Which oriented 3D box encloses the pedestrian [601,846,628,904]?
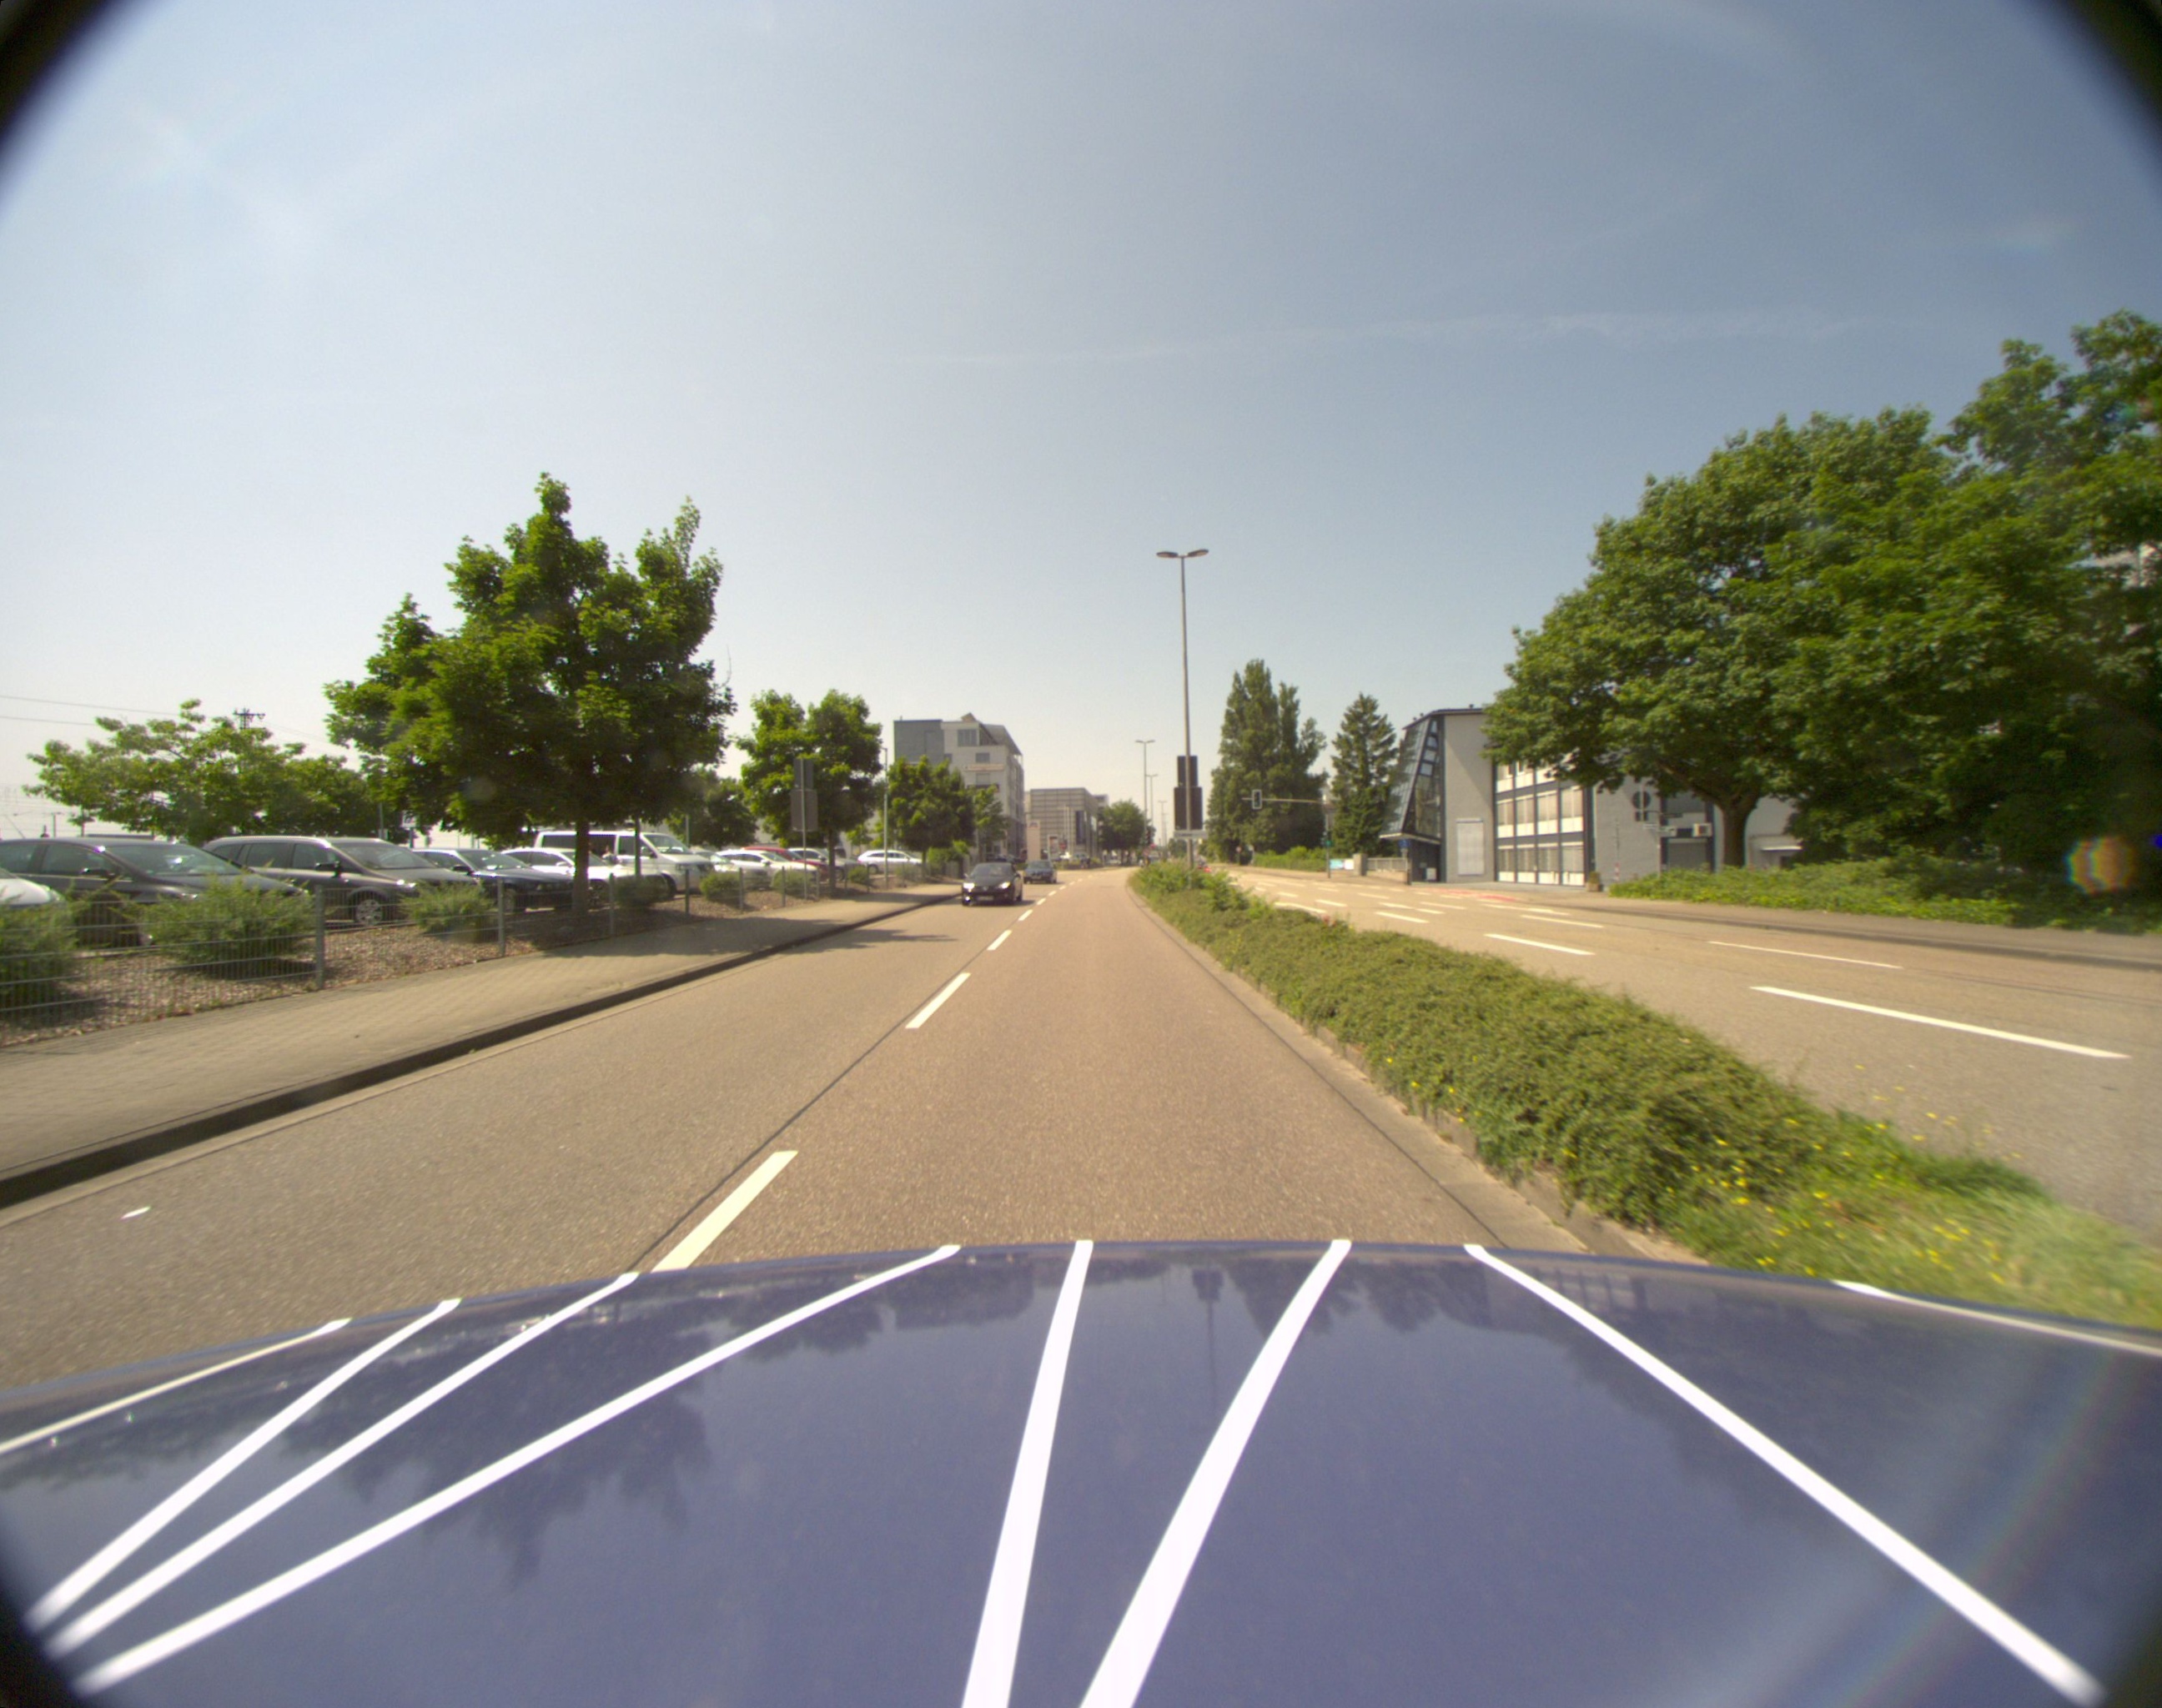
[{"bbox_3d":[-12.352,0.560,20.142,0.416,1.516,0.447,1,1,6],"label":"pedestrian"}]

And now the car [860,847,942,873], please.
[{"bbox_3d":[-10.898,0.380,46.187,4.587,1.496,1.698,-1,0,1],"label":"car"}]

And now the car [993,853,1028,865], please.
[{"bbox_3d":[-8.078,0.529,87.194,3.880,1.331,1.756,0,0,1],"label":"car"}]

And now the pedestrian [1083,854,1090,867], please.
[{"bbox_3d":[0.677,0.828,96.656,0.830,1.616,1.005,-2,2,4],"label":"pedestrian"}]

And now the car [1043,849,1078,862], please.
[{"bbox_3d":[-2.709,0.214,100.892,4.473,1.600,2.097,-2,1,3],"label":"car"}]

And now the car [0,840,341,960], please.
[{"bbox_3d":[-13.467,0.590,10.773,3.998,1.525,1.826,-1,1,-3],"label":"car"}]

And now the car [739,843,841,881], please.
[{"bbox_3d":[-12.151,0.334,31.928,3.598,1.528,1.723,-1,0,0],"label":"car"}]

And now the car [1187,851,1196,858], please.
[{"bbox_3d":[27.783,0.111,190.949,1.898,1.551,4.288,1,0,4],"label":"car"}]

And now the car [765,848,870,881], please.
[{"bbox_3d":[-11.972,0.483,34.699,4.179,1.413,1.698,-1,0,4],"label":"car"}]

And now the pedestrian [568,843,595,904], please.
[{"bbox_3d":[-13.168,0.508,20.039,0.416,1.605,0.447,1,1,-2],"label":"pedestrian"}]

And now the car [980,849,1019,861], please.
[{"bbox_3d":[-8.815,0.125,82.767,3.996,1.331,1.863,0,0,1],"label":"car"}]

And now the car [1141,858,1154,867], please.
[{"bbox_3d":[10.582,1.272,120.533,1.866,1.390,4.003,1,0,8],"label":"car"}]

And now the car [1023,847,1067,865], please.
[{"bbox_3d":[-4.235,0.213,89.617,4.704,1.787,2.184,-3,0,6],"label":"car"}]

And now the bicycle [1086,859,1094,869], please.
[{"bbox_3d":[1.087,1.252,93.033,0.759,1.126,1.908,-2,0,5],"label":"bicycle"}]

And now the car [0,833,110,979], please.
[{"bbox_3d":[-13.702,0.657,8.170,3.997,1.586,1.826,-3,0,-2],"label":"car"}]

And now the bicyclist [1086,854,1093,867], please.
[{"bbox_3d":[1.050,0.802,92.995,0.776,1.455,1.091,-2,1,3],"label":"bicyclist"}]

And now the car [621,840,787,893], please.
[{"bbox_3d":[-11.924,0.399,24.234,4.377,1.583,1.827,-1,0,2],"label":"car"}]

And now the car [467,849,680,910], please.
[{"bbox_3d":[-12.314,0.604,18.615,3.996,1.381,1.827,-1,0,2],"label":"car"}]

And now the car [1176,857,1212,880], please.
[{"bbox_3d":[7.023,0.894,47.572,1.733,1.316,4.150,0,0,2],"label":"car"}]

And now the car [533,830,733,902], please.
[{"bbox_3d":[-12.627,0.324,21.611,4.627,1.913,1.827,-1,0,2],"label":"car"}]

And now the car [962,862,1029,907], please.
[{"bbox_3d":[-2.777,0.965,25.289,1.641,1.348,3.500,1,0,3],"label":"car"}]

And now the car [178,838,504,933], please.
[{"bbox_3d":[-12.866,0.513,13.402,3.996,1.525,1.827,-1,1,2],"label":"car"}]

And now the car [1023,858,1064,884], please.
[{"bbox_3d":[-2.135,0.928,44.144,1.710,1.316,3.957,3,1,6],"label":"car"}]

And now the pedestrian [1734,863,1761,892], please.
[{"bbox_3d":[37.448,1.299,42.706,0.684,1.615,0.859,1,1,-5],"label":"pedestrian"}]

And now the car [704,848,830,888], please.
[{"bbox_3d":[-11.780,0.511,28.680,4.005,1.413,1.698,-1,0,2],"label":"car"}]

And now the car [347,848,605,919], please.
[{"bbox_3d":[-12.603,0.590,16.009,3.996,1.381,1.827,-1,0,2],"label":"car"}]

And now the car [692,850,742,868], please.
[{"bbox_3d":[-31.072,0.395,64.941,1.998,1.378,4.143,-2,0,4],"label":"car"}]

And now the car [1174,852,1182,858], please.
[{"bbox_3d":[25.327,0.233,198.274,1.763,1.410,4.092,2,1,3],"label":"car"}]
